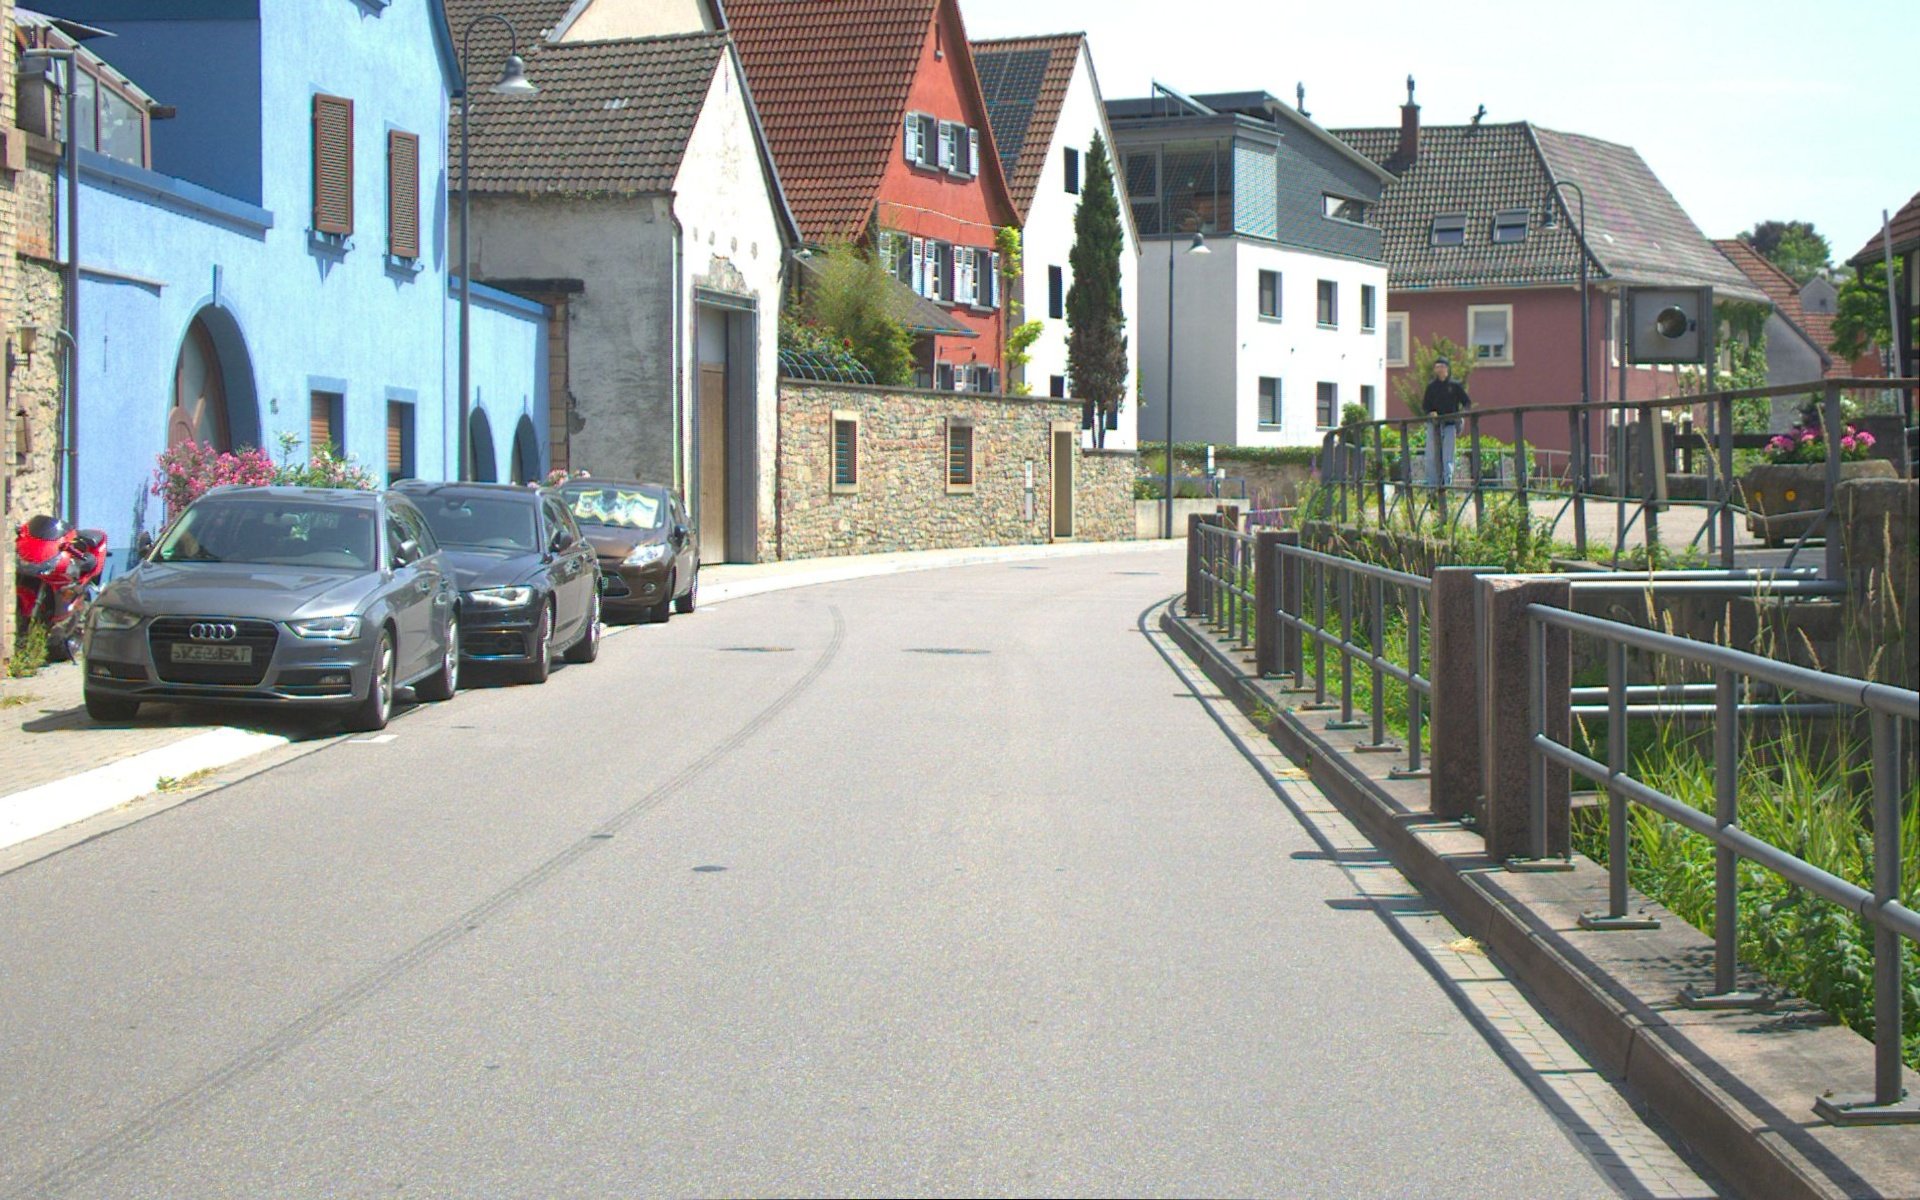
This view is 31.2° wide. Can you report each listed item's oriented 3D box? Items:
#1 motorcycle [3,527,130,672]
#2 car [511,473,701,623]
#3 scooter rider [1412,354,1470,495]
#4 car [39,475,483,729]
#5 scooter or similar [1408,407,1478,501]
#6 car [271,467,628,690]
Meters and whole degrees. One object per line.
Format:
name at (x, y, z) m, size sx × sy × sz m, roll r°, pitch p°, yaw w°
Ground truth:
motorcycle at (-6.677, -0.024, 25.743) m, size 0.417 × 0.997 × 1.859 m, roll 4°, pitch 2°, yaw -1°
car at (-3.804, -0.608, 37.466) m, size 1.717 × 1.524 × 3.857 m, roll -1°, pitch 2°, yaw -1°
scooter rider at (5.980, -2.177, 42.763) m, size 0.641 × 1.725 × 0.554 m, roll 1°, pitch 2°, yaw 2°
car at (-4.374, -0.046, 22.243) m, size 1.956 × 1.460 × 4.546 m, roll 0°, pitch 1°, yaw 0°
scooter or similar at (5.987, -1.804, 42.706) m, size 0.641 × 1.138 × 1.811 m, roll -1°, pitch 2°, yaw 2°
car at (-3.899, -0.244, 27.042) m, size 1.885 × 1.459 × 4.669 m, roll 3°, pitch 3°, yaw 2°
